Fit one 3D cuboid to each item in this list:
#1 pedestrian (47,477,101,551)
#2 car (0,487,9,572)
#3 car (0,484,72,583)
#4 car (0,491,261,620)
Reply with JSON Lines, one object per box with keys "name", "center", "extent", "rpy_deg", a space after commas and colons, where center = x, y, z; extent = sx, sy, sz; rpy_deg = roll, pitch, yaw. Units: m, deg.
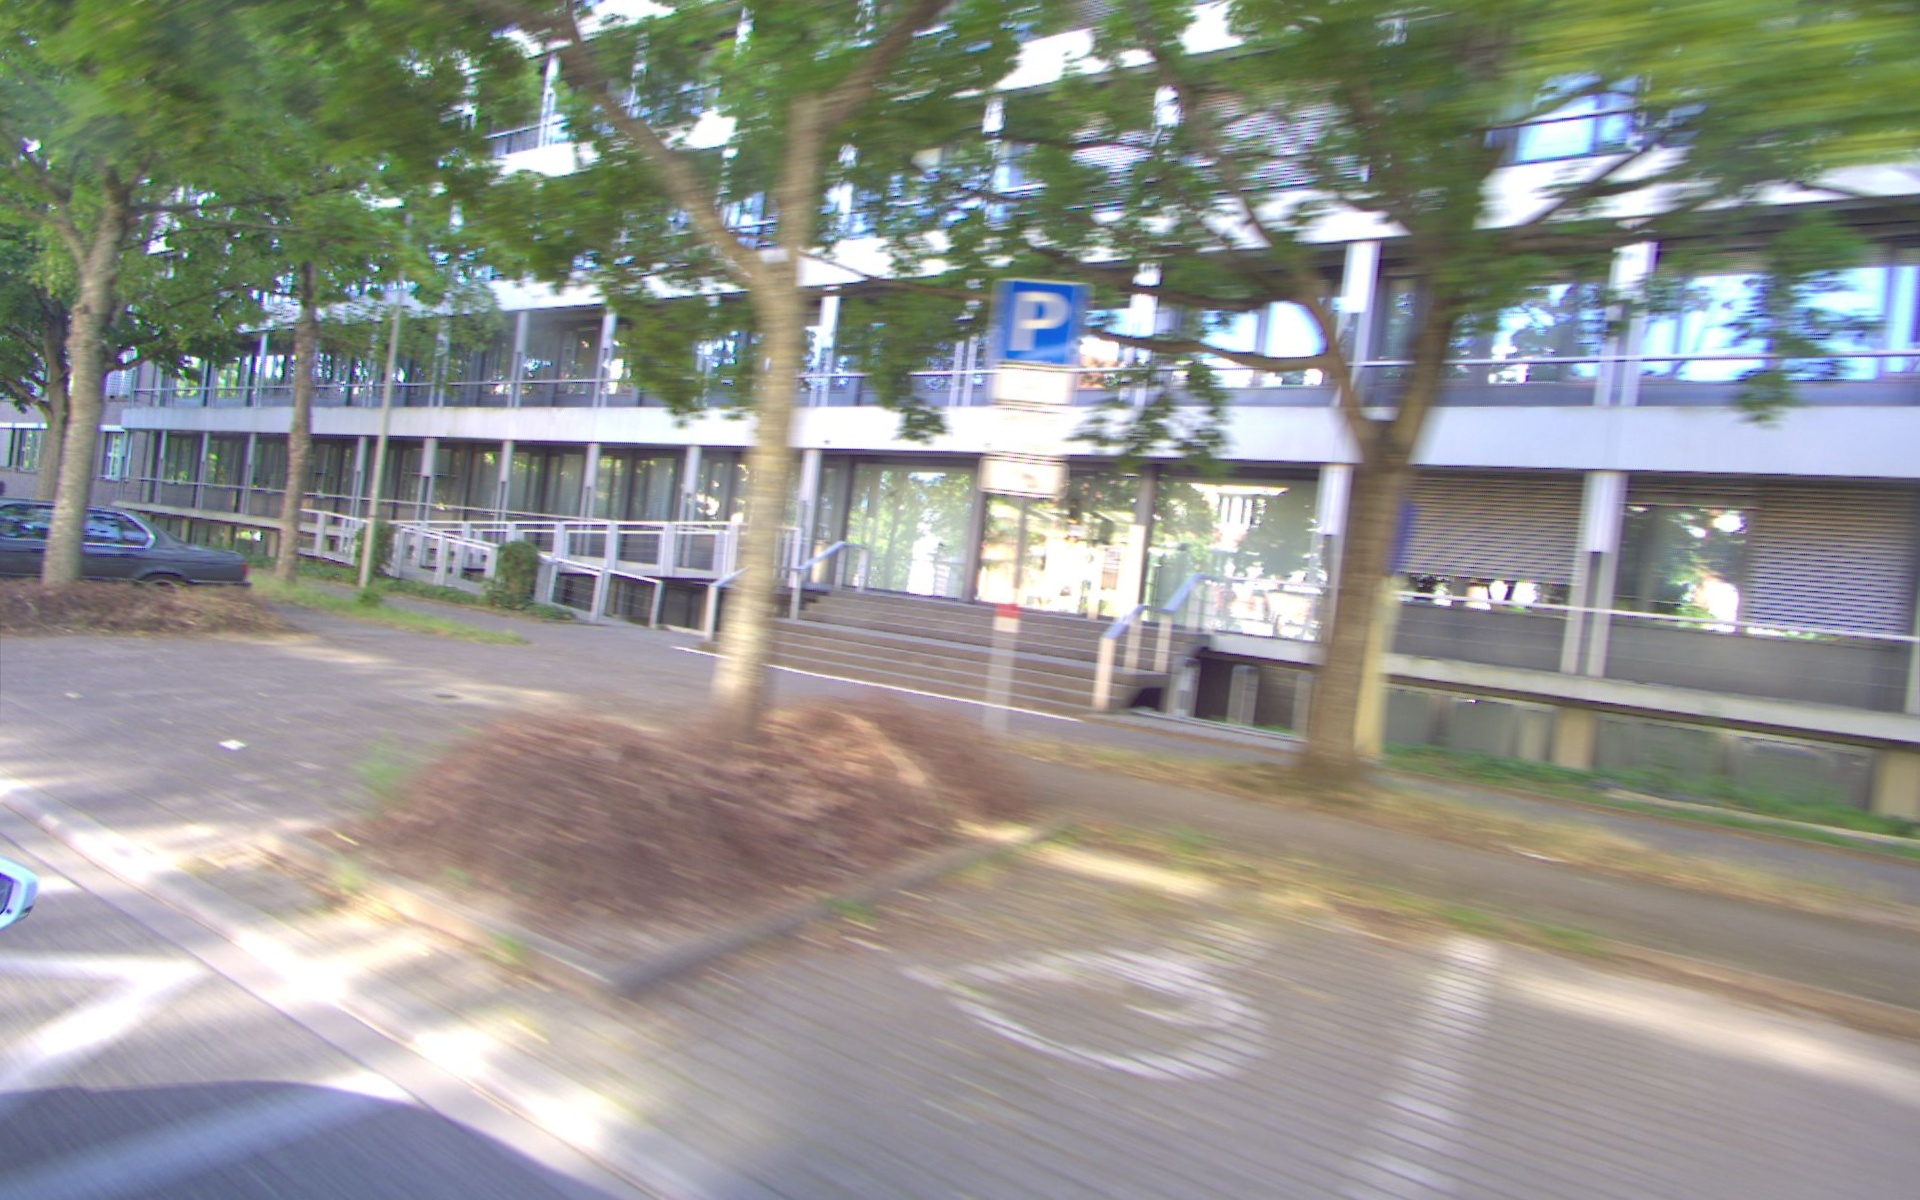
{"name": "pedestrian", "center": [-22.691, -2.207, 25.768], "extent": [1.171, 1.767, 0.608], "rpy_deg": [7, 1, 32]}
{"name": "car", "center": [-19.039, -1.445, 17.005], "extent": [1.783, 1.534, 3.950], "rpy_deg": [7, 1, 33]}
{"name": "car", "center": [-16.733, -1.228, 15.895], "extent": [1.783, 1.534, 3.643], "rpy_deg": [7, 1, 32]}
{"name": "car", "center": [-12.011, -0.635, 12.672], "extent": [1.997, 1.438, 4.830], "rpy_deg": [7, 1, 30]}
